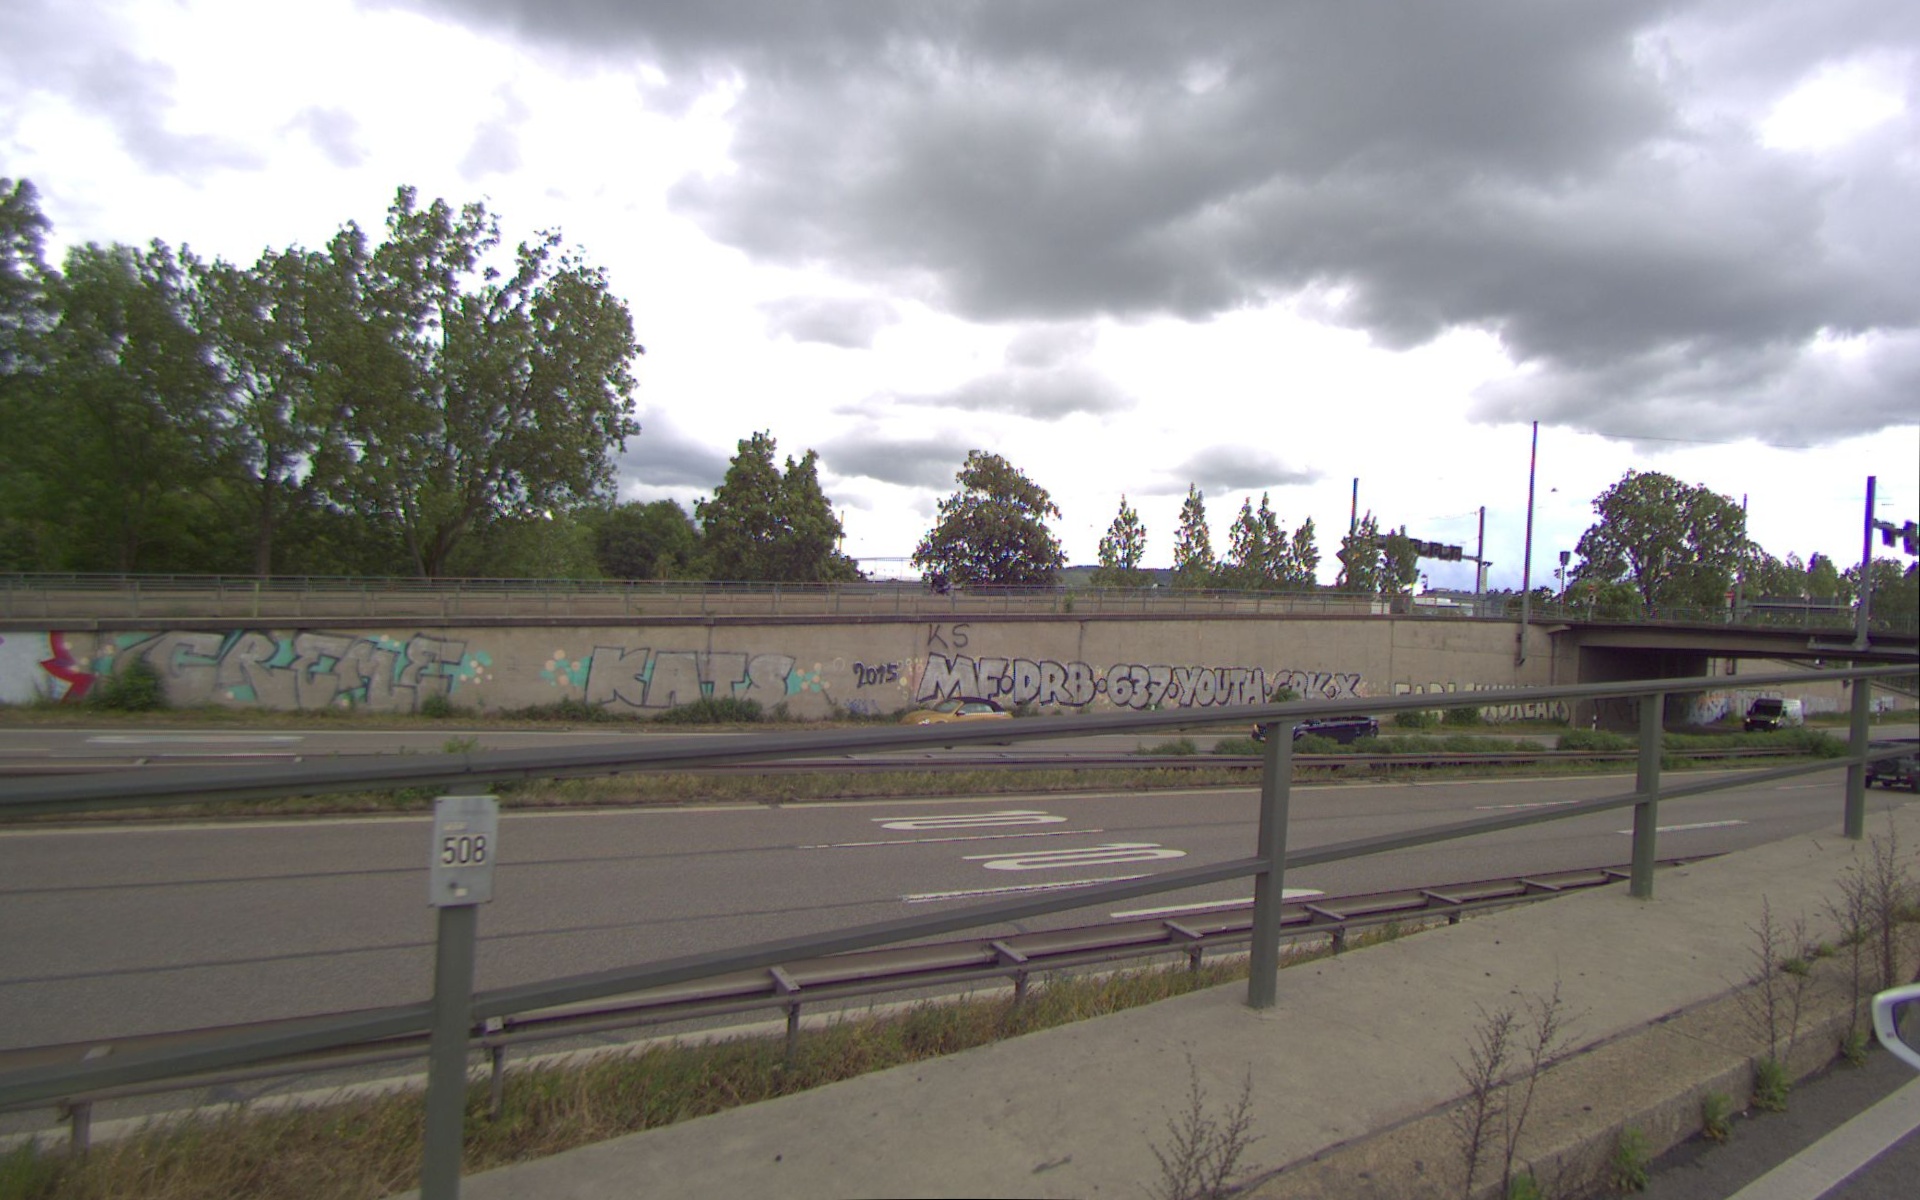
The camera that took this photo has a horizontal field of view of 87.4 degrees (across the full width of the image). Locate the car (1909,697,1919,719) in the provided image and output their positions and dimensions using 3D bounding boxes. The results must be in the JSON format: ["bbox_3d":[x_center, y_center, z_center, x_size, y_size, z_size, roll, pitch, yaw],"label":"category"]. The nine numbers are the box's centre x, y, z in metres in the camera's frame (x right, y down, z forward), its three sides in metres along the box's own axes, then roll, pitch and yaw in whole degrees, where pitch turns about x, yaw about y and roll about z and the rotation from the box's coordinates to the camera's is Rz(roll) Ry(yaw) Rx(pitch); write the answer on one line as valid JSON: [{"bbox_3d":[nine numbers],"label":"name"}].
[{"bbox_3d":[100.166,11.263,103.672,6.130,2.183,2.273,6,-3,-38],"label":"car"}]

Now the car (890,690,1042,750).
[{"bbox_3d":[0.227,3.922,33.239,4.651,1.742,1.983,4,-2,-32],"label":"car"}]

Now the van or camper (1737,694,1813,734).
[{"bbox_3d":[57.253,7.996,70.520,6.281,2.489,2.170,5,-1,-33],"label":"van or camper"}]

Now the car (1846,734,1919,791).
[{"bbox_3d":[33.725,5.793,36.120,3.953,1.758,1.673,4,-3,-31],"label":"car"}]

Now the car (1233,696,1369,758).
[{"bbox_3d":[12.814,4.737,37.658,5.061,2.014,2.080,5,-3,-33],"label":"car"}]
